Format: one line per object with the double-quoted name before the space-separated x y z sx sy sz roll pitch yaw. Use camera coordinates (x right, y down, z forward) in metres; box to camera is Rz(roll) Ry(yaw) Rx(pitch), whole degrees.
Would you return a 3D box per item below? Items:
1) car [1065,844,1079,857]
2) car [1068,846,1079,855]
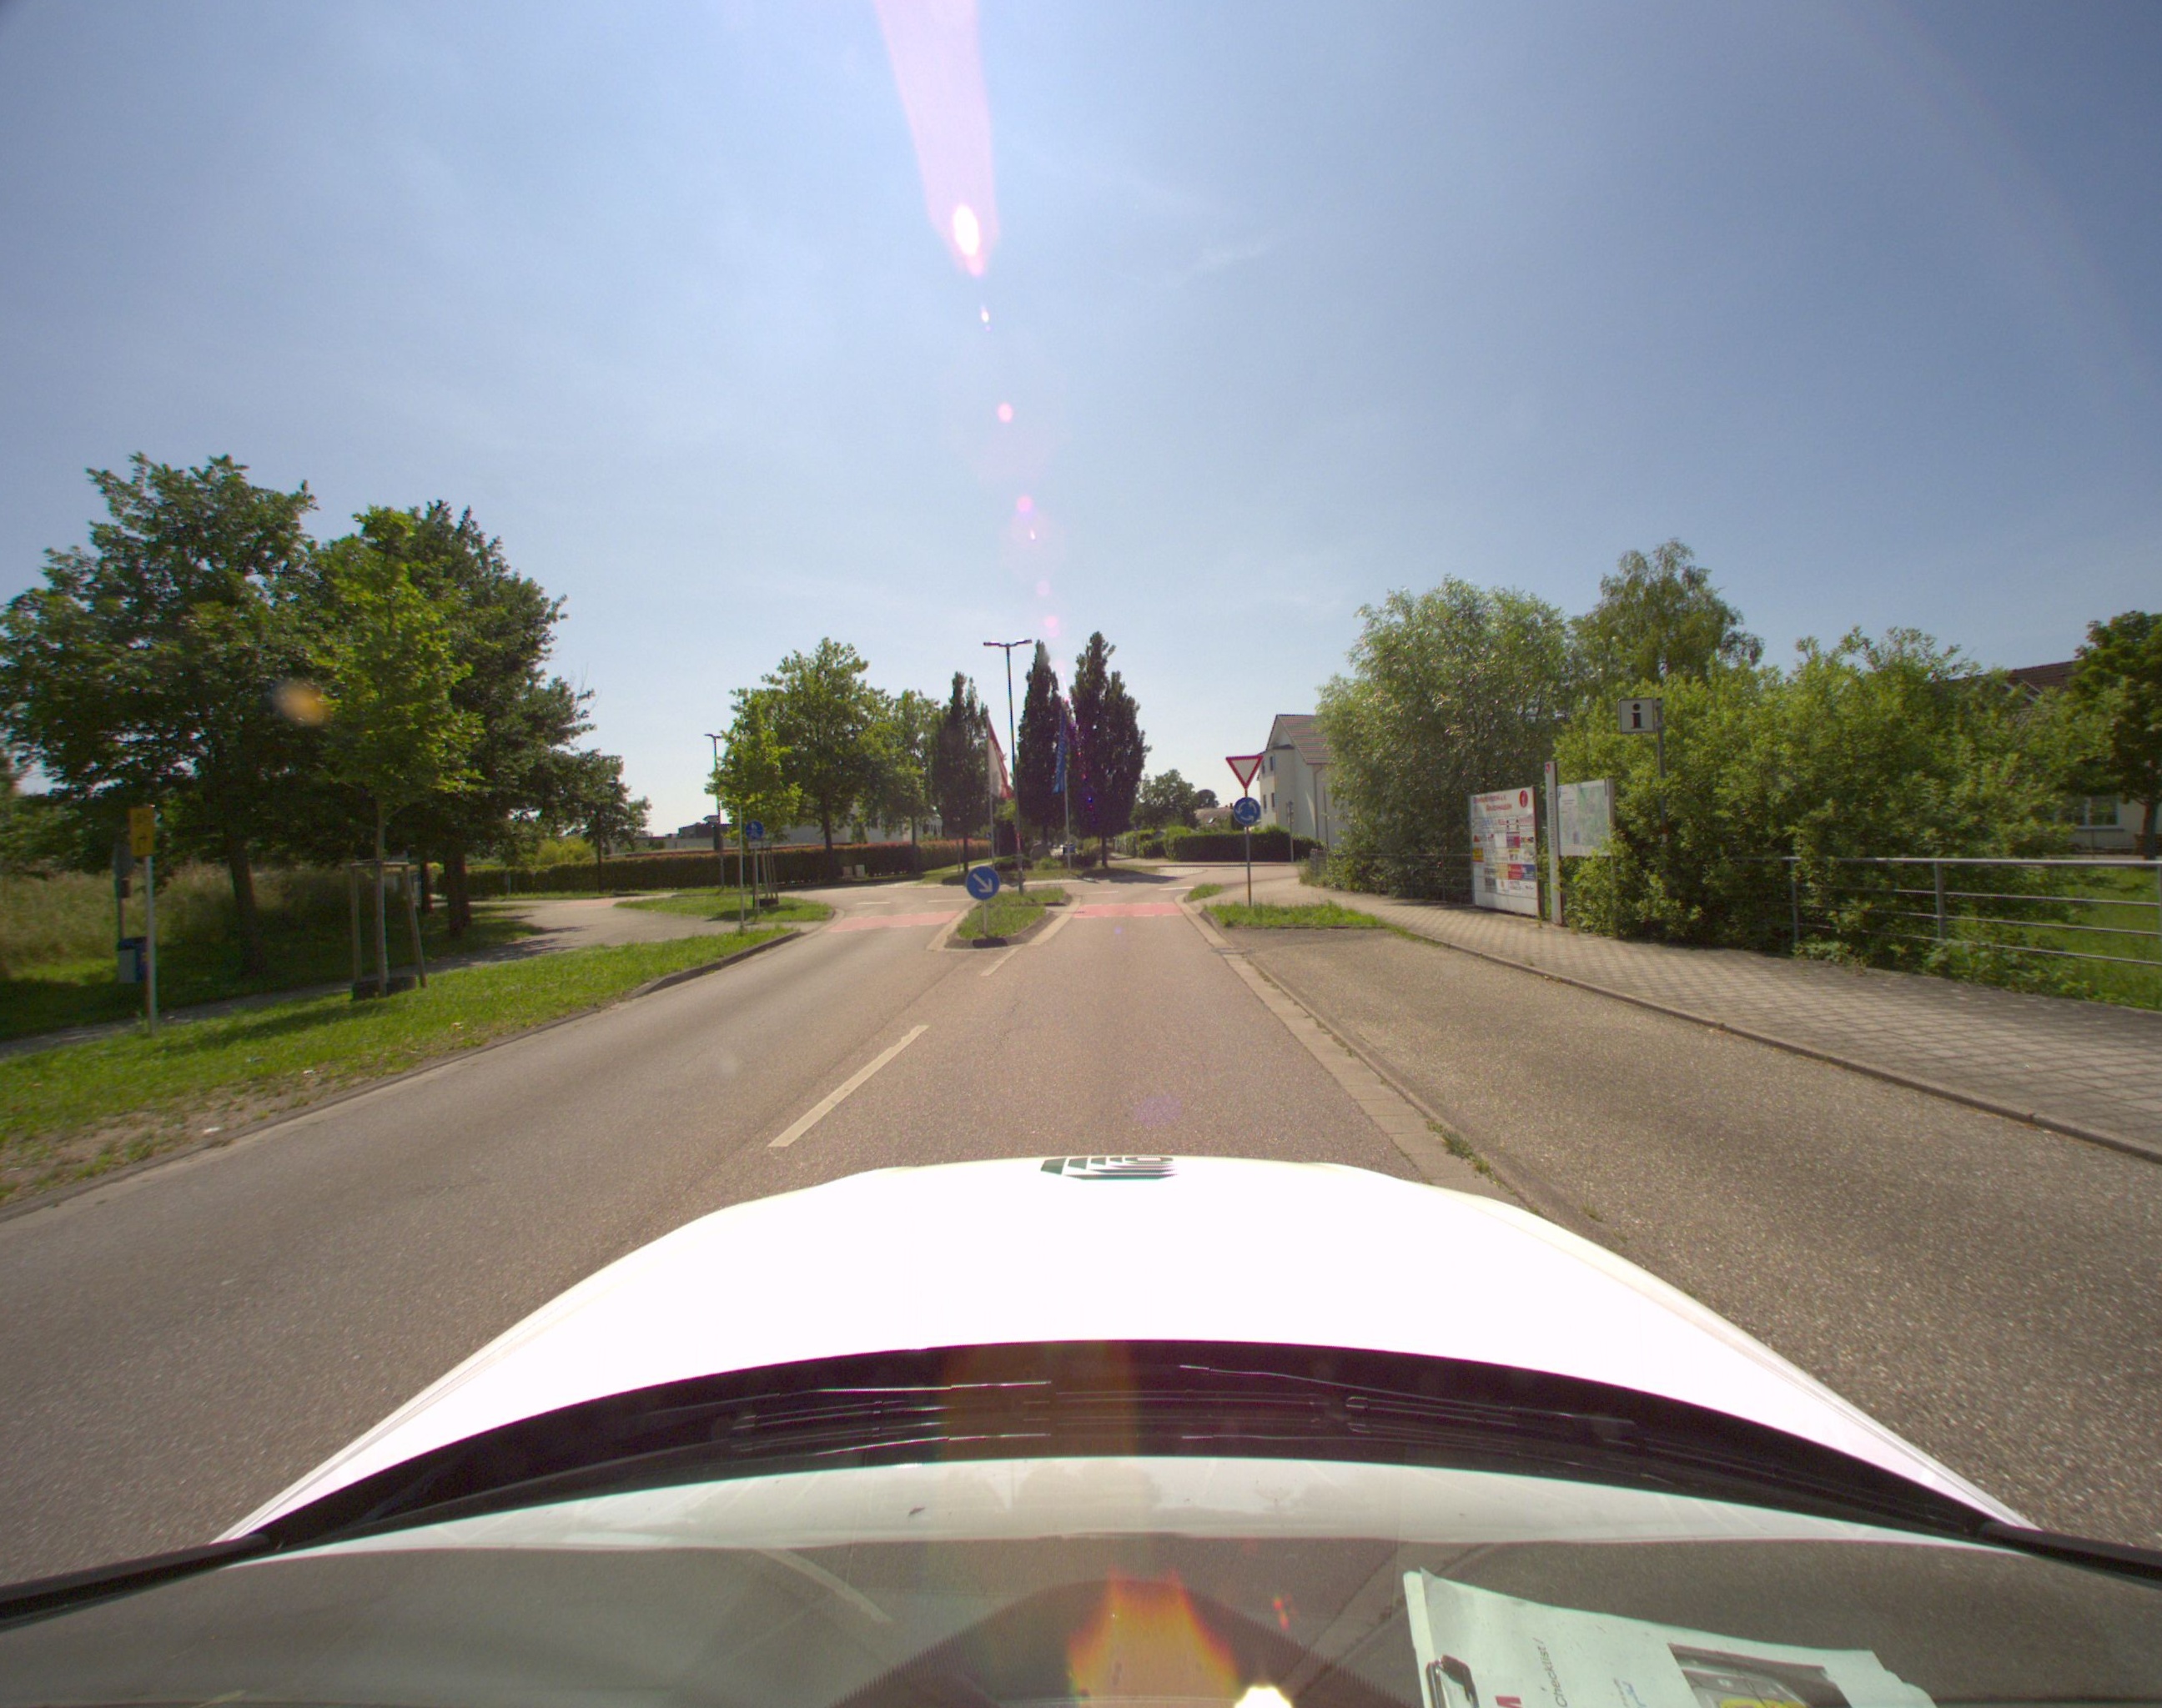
"car" -1.348 -0.485 117.816 1.917 1.886 3.998 -1 0 -1
"car" -1.476 -0.690 158.945 1.987 1.770 3.999 -1 0 0
